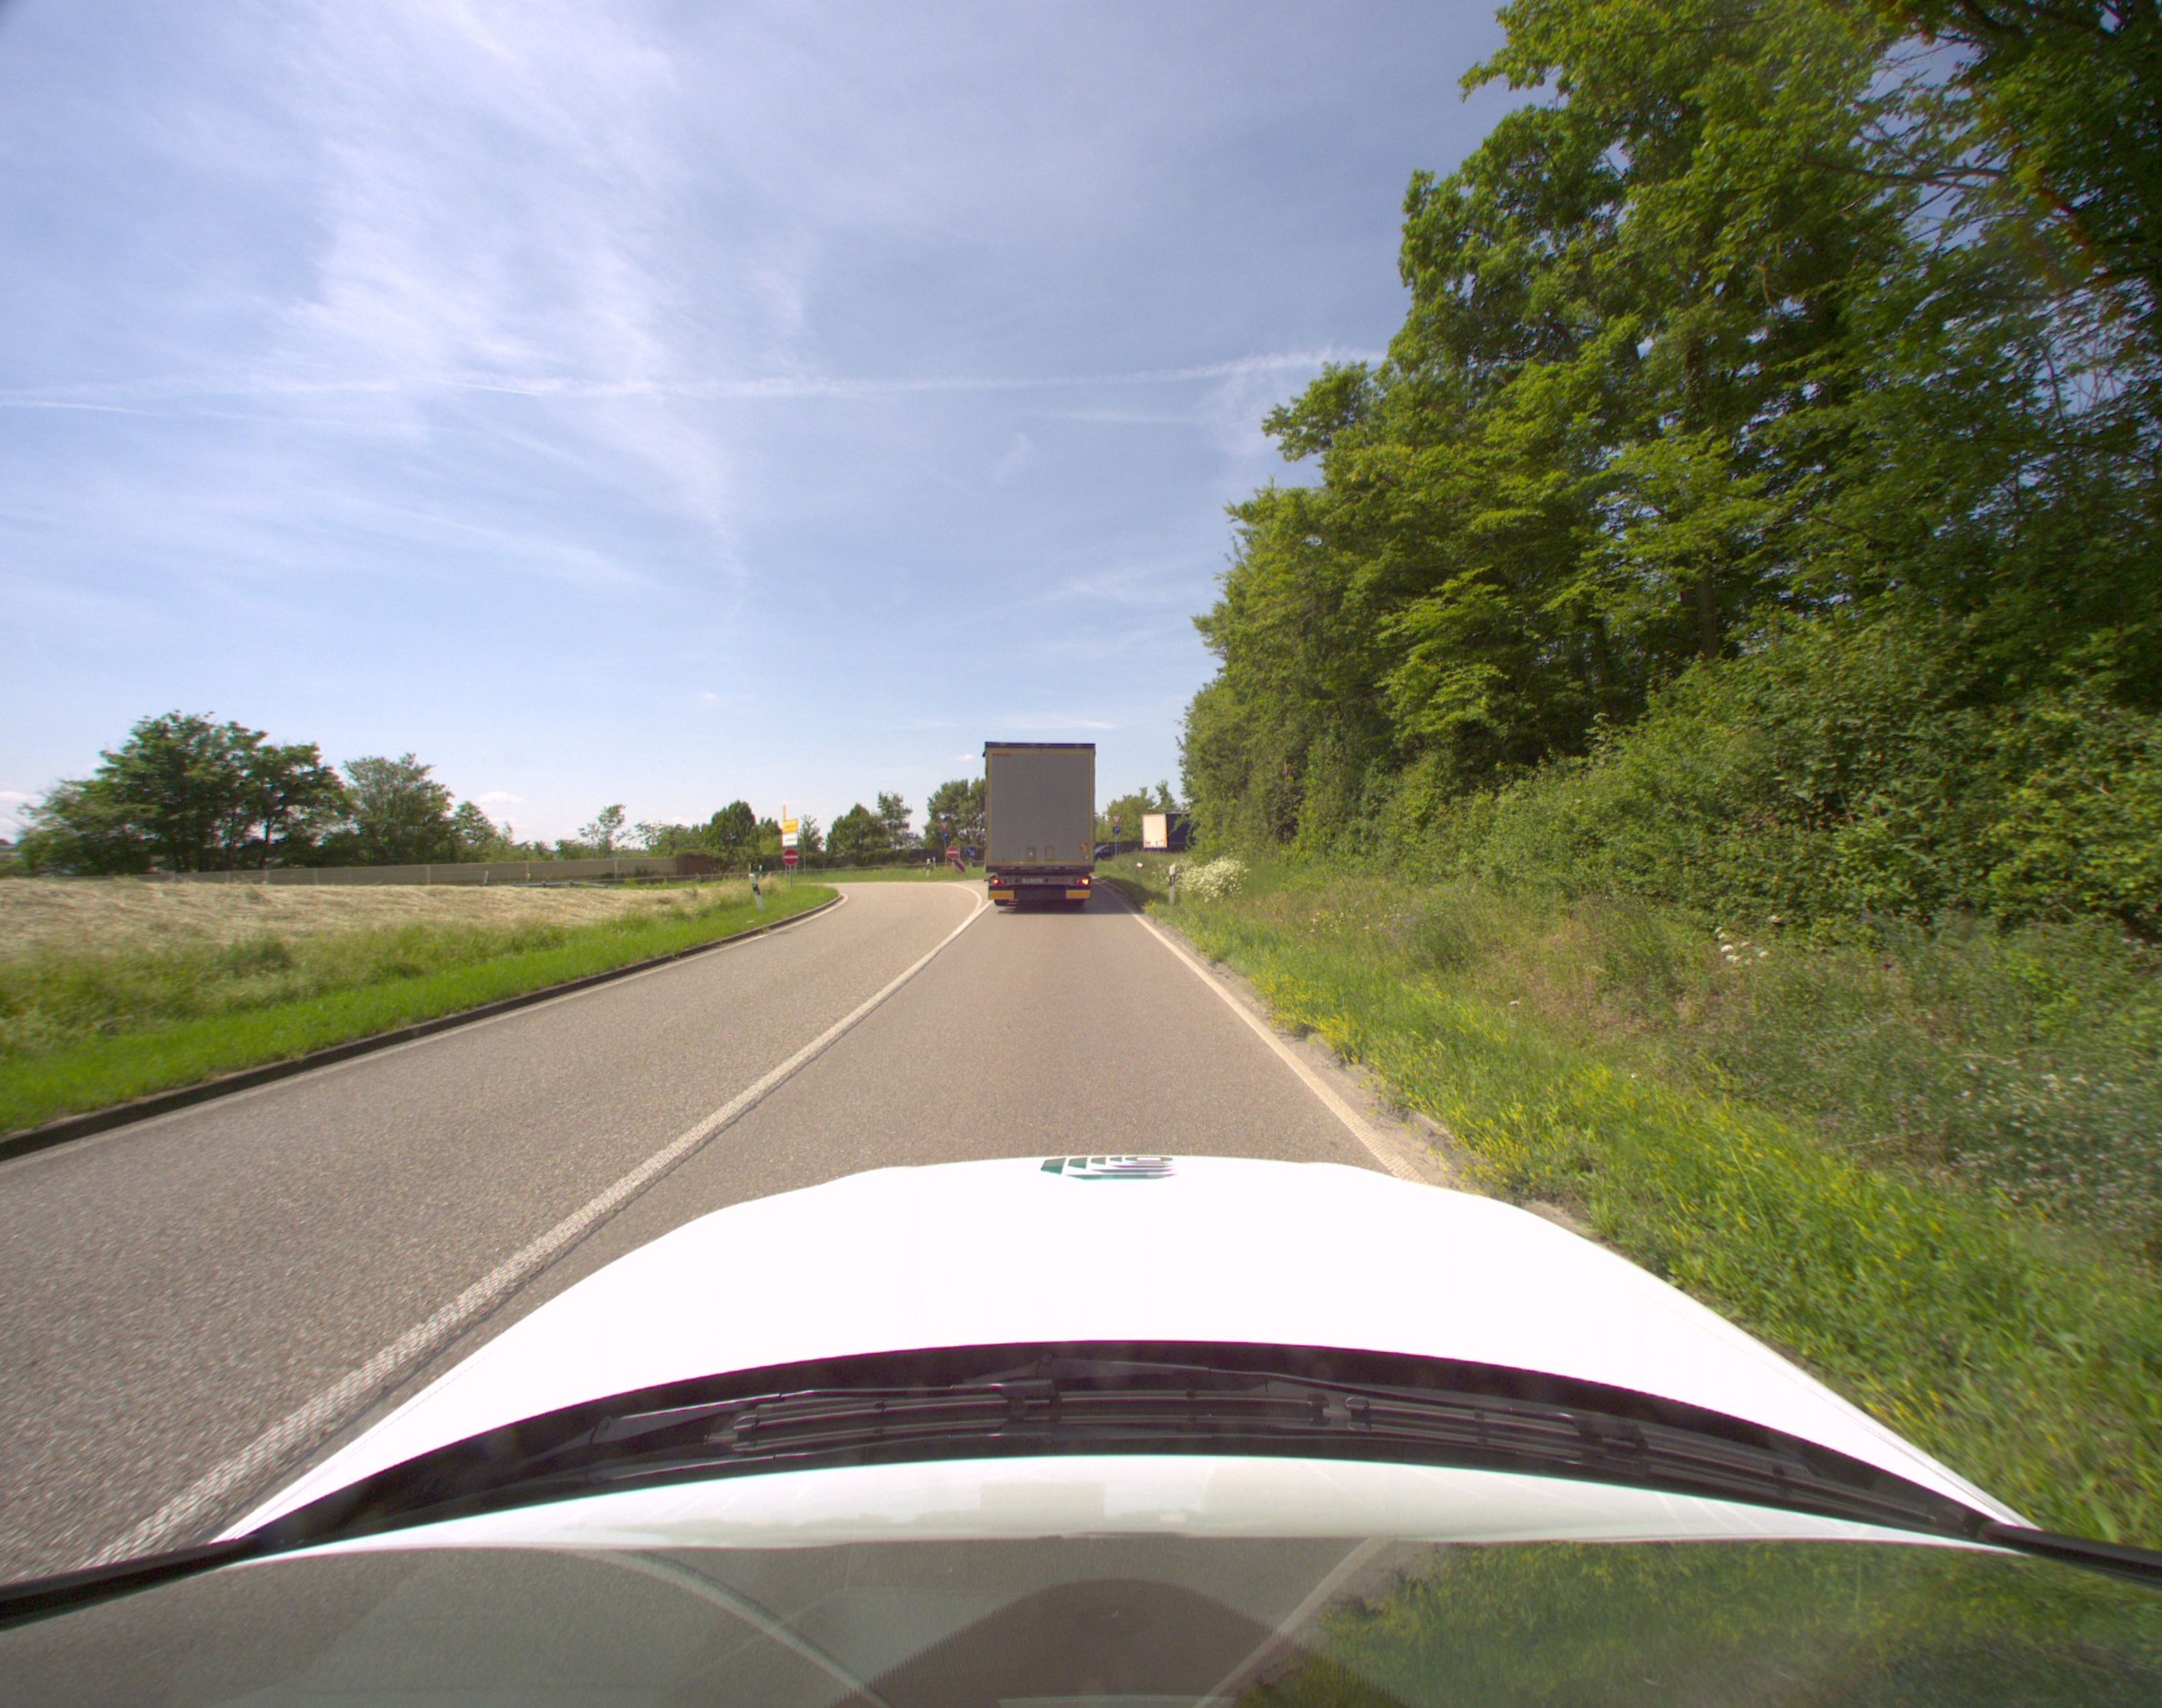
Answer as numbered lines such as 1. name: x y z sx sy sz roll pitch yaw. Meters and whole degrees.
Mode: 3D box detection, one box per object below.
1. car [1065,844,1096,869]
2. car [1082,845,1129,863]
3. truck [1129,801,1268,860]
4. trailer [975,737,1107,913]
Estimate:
1. car: 0.009 0.142 53.835 1.658 1.486 4.006 -2 1 5
2. car: 2.316 -0.005 76.325 4.124 1.538 1.736 -2 1 -35
3. truck: 11.151 -2.173 74.597 3.792 4.744 16.302 -2 0 43
4. trailer: -1.079 -0.761 25.424 3.019 4.034 13.344 0 1 -2
